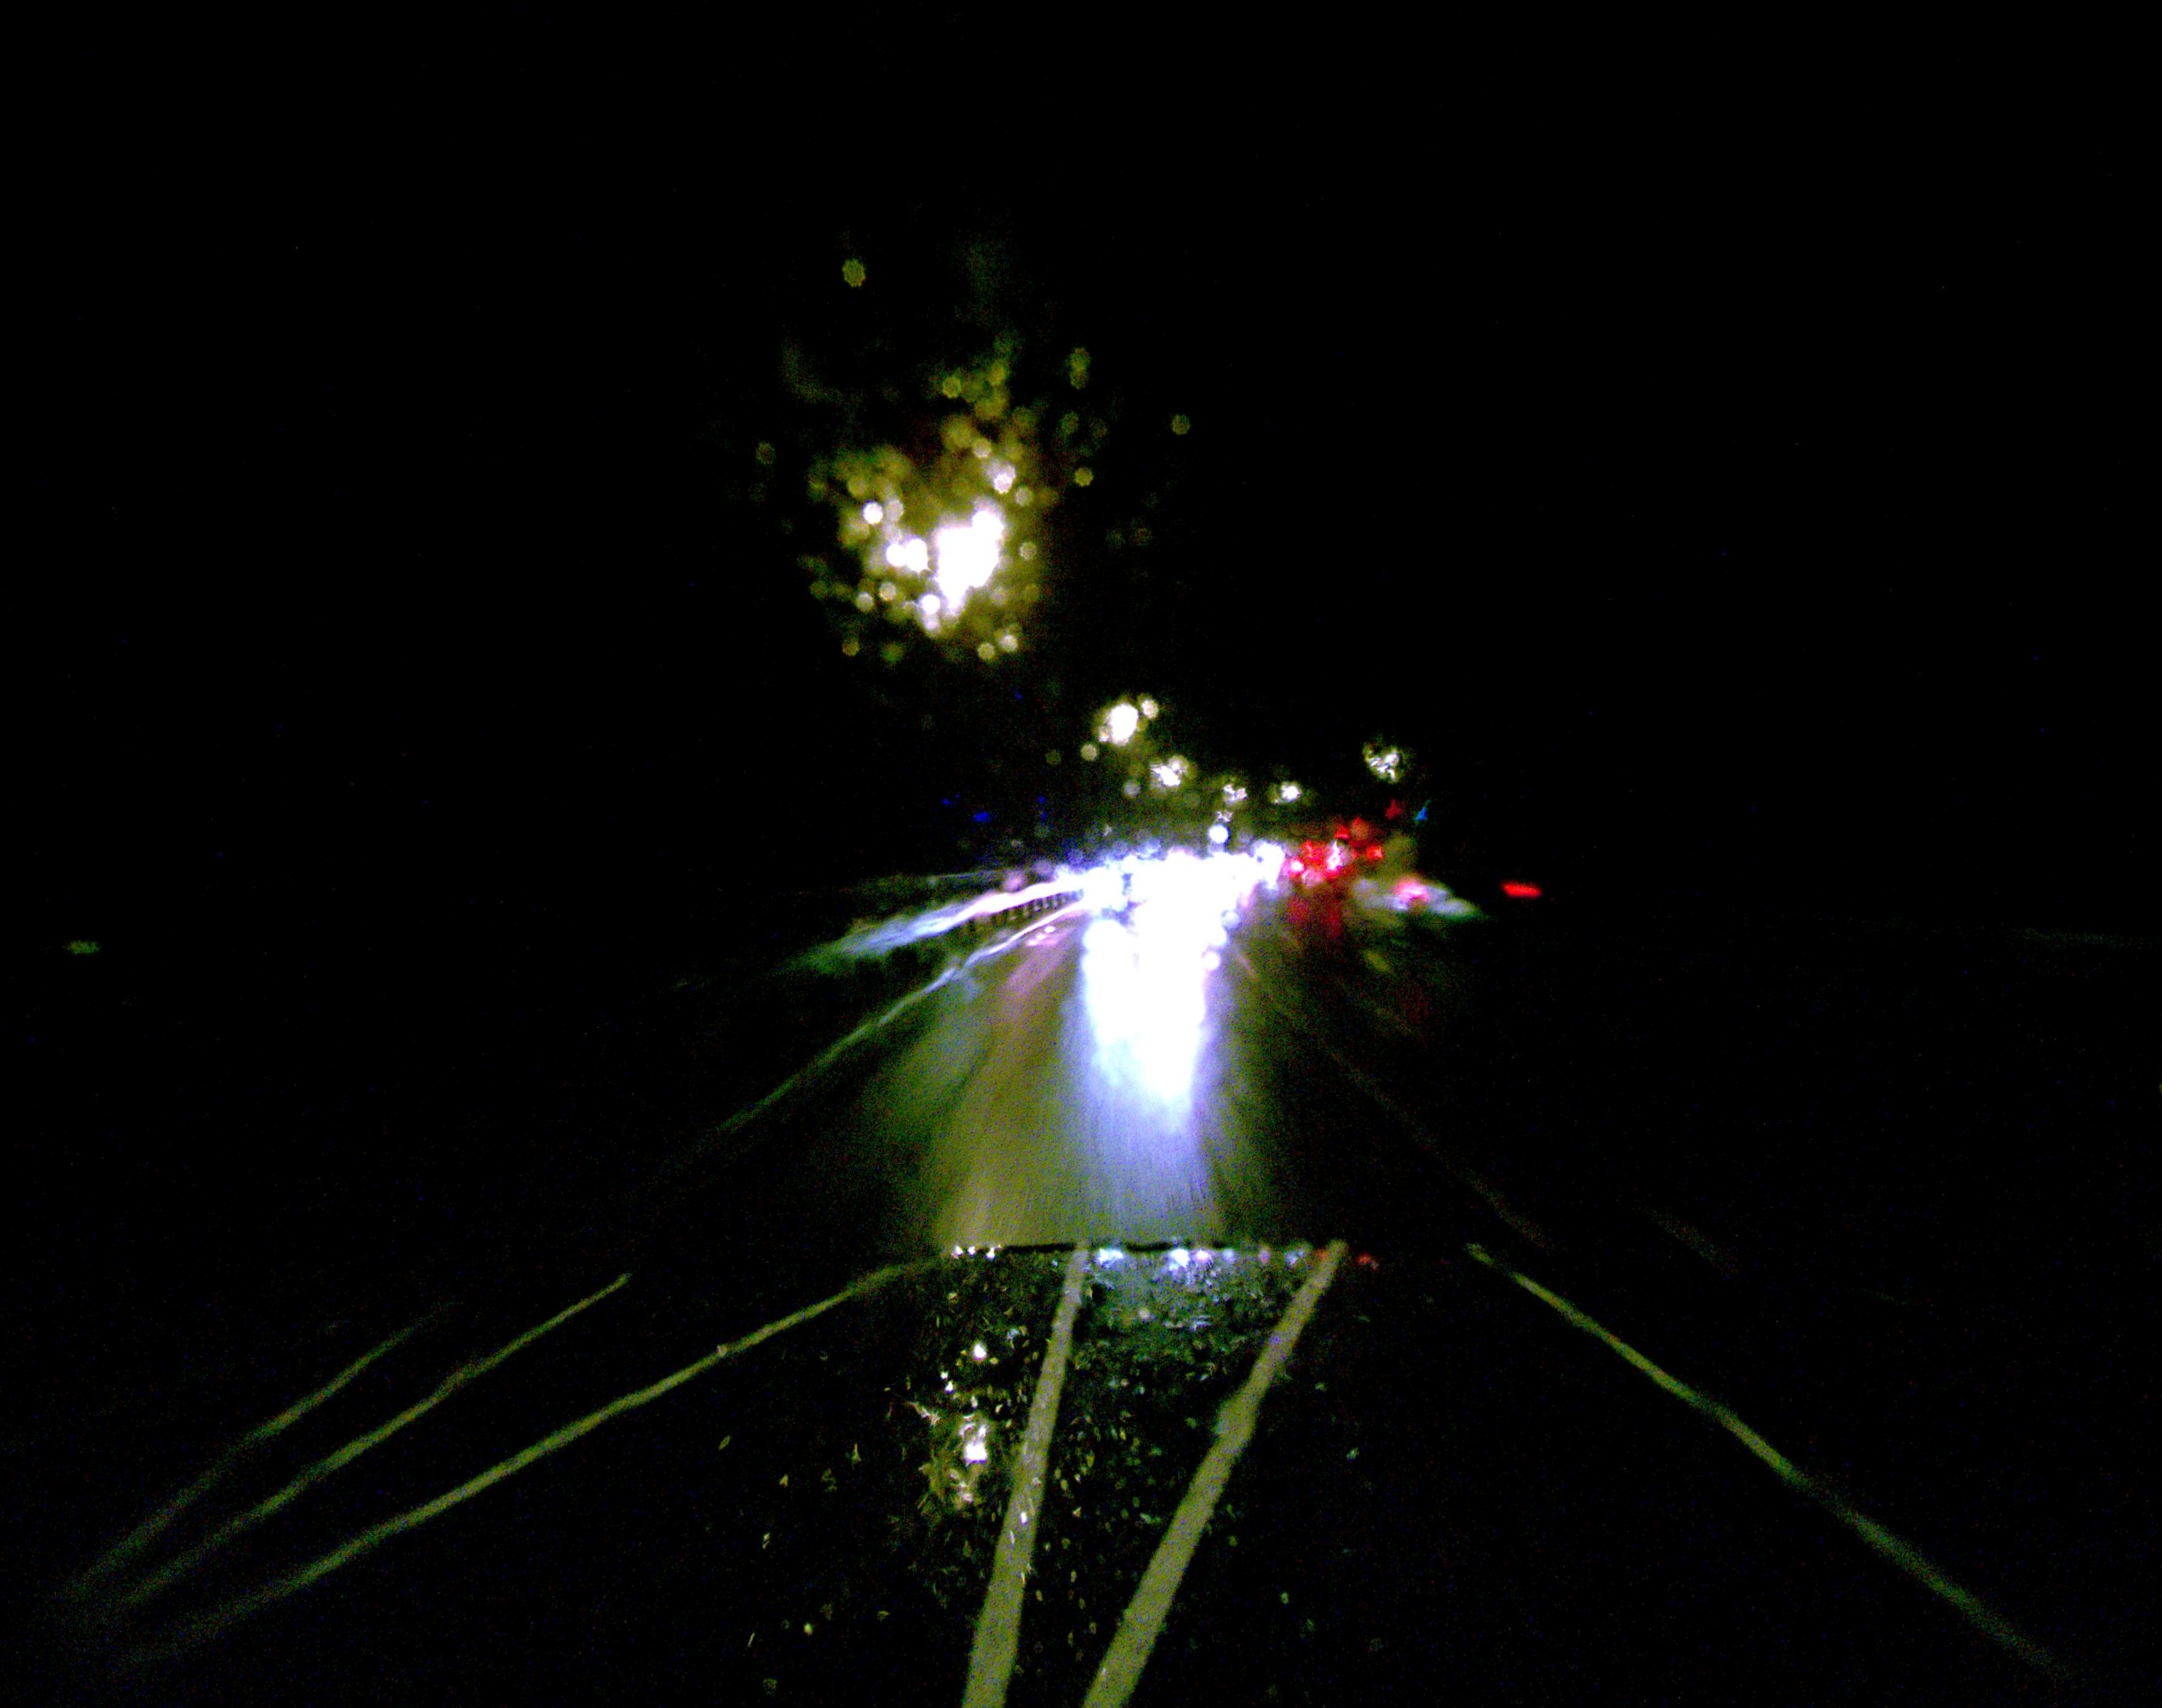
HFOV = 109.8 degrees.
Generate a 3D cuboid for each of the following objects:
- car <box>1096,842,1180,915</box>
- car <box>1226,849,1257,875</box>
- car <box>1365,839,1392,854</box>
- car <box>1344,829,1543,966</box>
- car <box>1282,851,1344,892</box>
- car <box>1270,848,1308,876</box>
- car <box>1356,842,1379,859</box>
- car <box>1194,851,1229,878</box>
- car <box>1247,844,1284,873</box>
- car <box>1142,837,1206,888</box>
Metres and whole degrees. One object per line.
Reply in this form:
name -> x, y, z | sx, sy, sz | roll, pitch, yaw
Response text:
car -> 1.600, 0.613, 19.886 | 1.926, 1.704, 4.242 | 0, -1, 8
car -> 11.429, 0.532, 54.003 | 1.303, 1.520, 3.050 | -7, 0, 26
car -> 35.321, -0.828, 90.108 | 2.000, 1.664, 4.627 | -2, -1, 34
car -> 5.629, 0.583, 12.366 | 1.757, 1.850, 4.002 | 0, 0, 7
car -> 8.465, 0.591, 28.006 | 1.817, 1.396, 4.052 | -1, 0, 12
car -> 12.149, 0.453, 44.544 | 1.685, 1.383, 4.453 | -3, 1, 10
car -> 26.450, -0.321, 70.098 | 1.472, 1.575, 3.197 | -1, 0, 30
car -> 7.724, 0.585, 44.792 | 1.520, 1.516, 3.111 | -2, -1, 19
car -> 16.785, 0.382, 68.869 | 1.996, 2.002, 4.005 | -8, 1, 30
car -> 4.088, 0.318, 32.770 | 1.996, 2.002, 4.004 | -3, 0, 17
